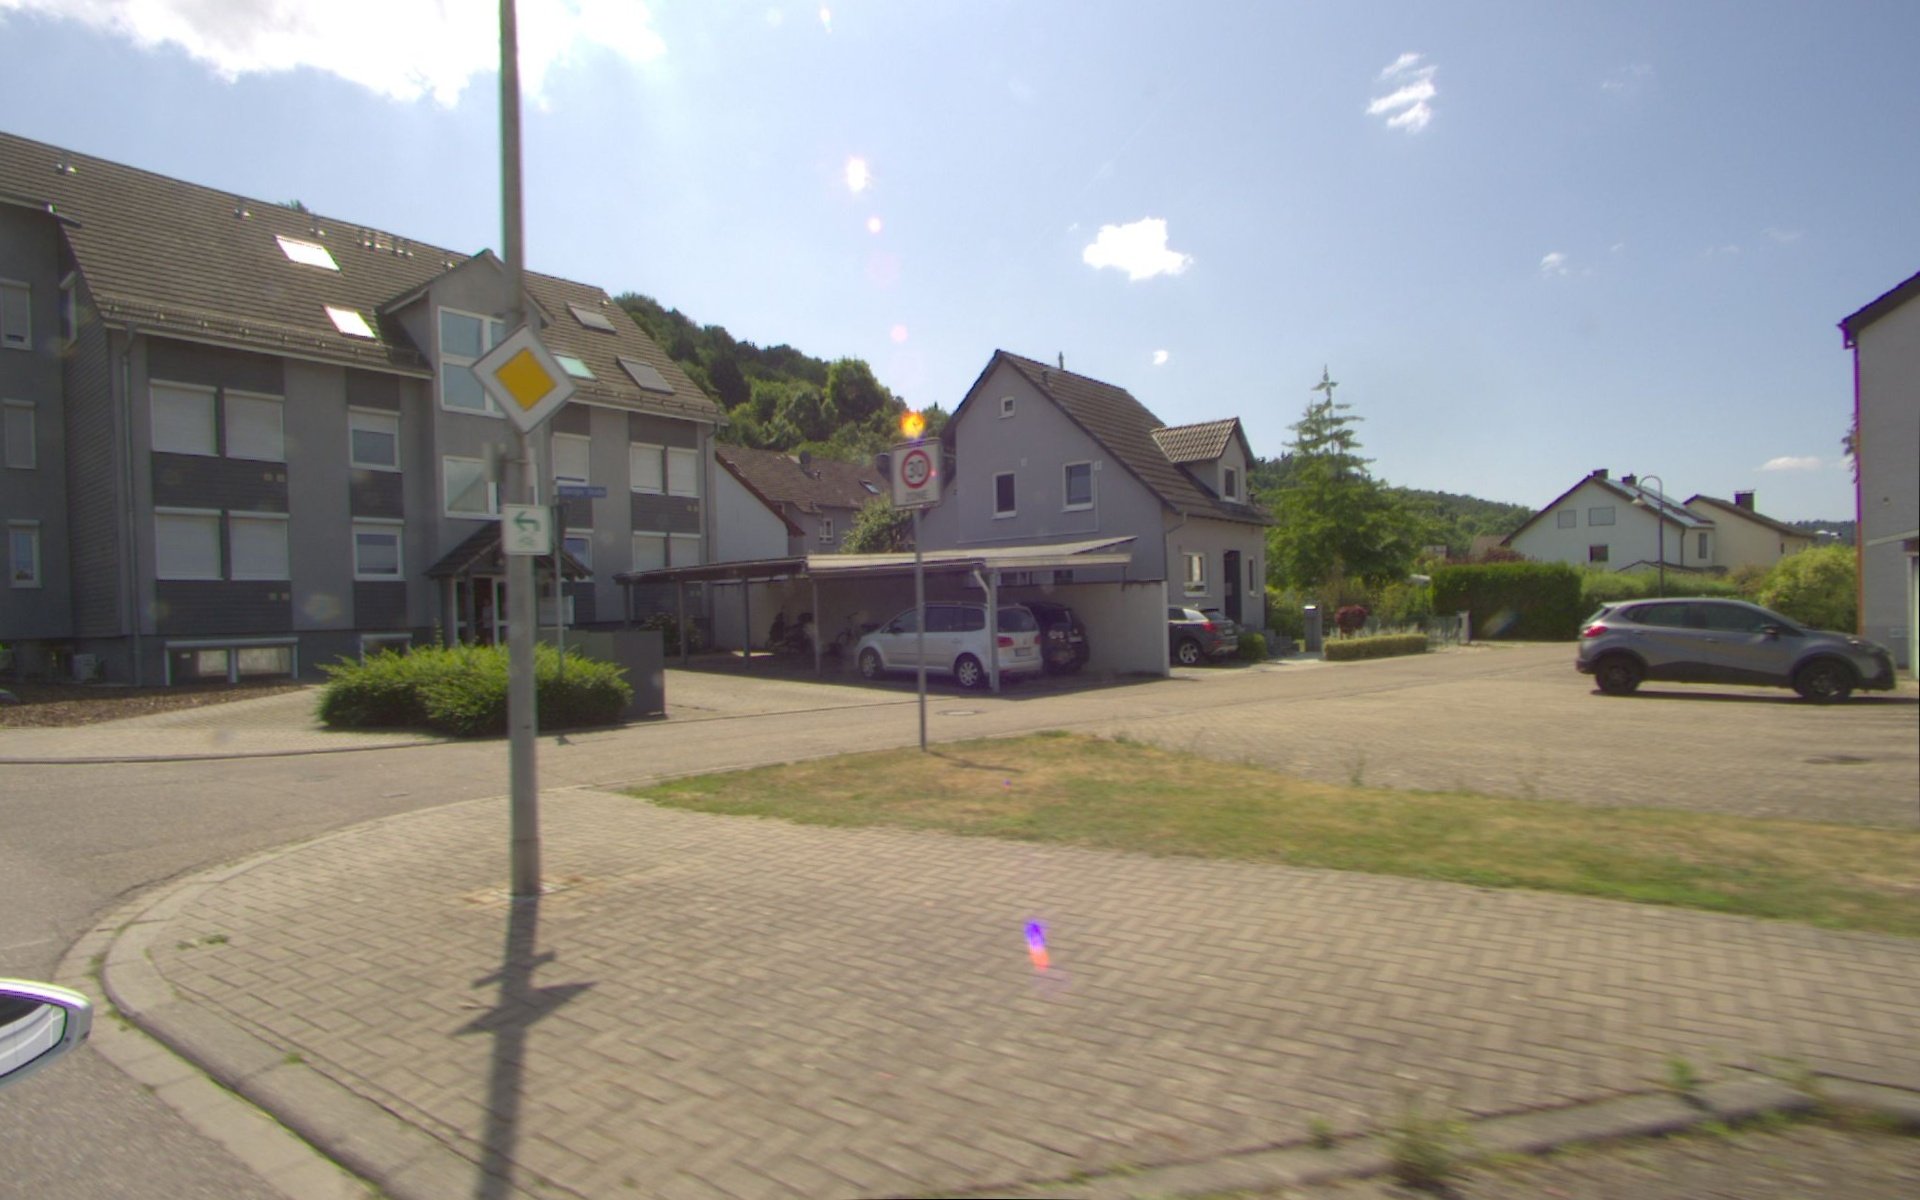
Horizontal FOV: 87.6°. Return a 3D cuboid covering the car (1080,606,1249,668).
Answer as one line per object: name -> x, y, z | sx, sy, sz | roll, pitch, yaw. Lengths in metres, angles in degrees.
car -> 5.286, 0.908, 26.081 | 3.945, 1.491, 1.803 | -1, 0, 35

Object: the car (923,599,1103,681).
car -> 1.158, 0.838, 22.708 | 3.804, 1.609, 1.729 | 2, 2, 38

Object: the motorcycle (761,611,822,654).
motorcycle -> -4.906, 0.921, 29.045 | 1.928, 1.179, 0.645 | 2, 2, 40

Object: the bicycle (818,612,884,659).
bicycle -> -2.995, 0.962, 27.429 | 1.928, 1.188, 0.645 | 2, 2, 40

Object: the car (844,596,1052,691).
car -> -0.319, 0.809, 20.639 | 4.162, 1.671, 1.729 | 1, 2, 38

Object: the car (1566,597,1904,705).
car -> 12.150, 0.754, 16.000 | 4.079, 1.523, 1.669 | -1, 0, 37
